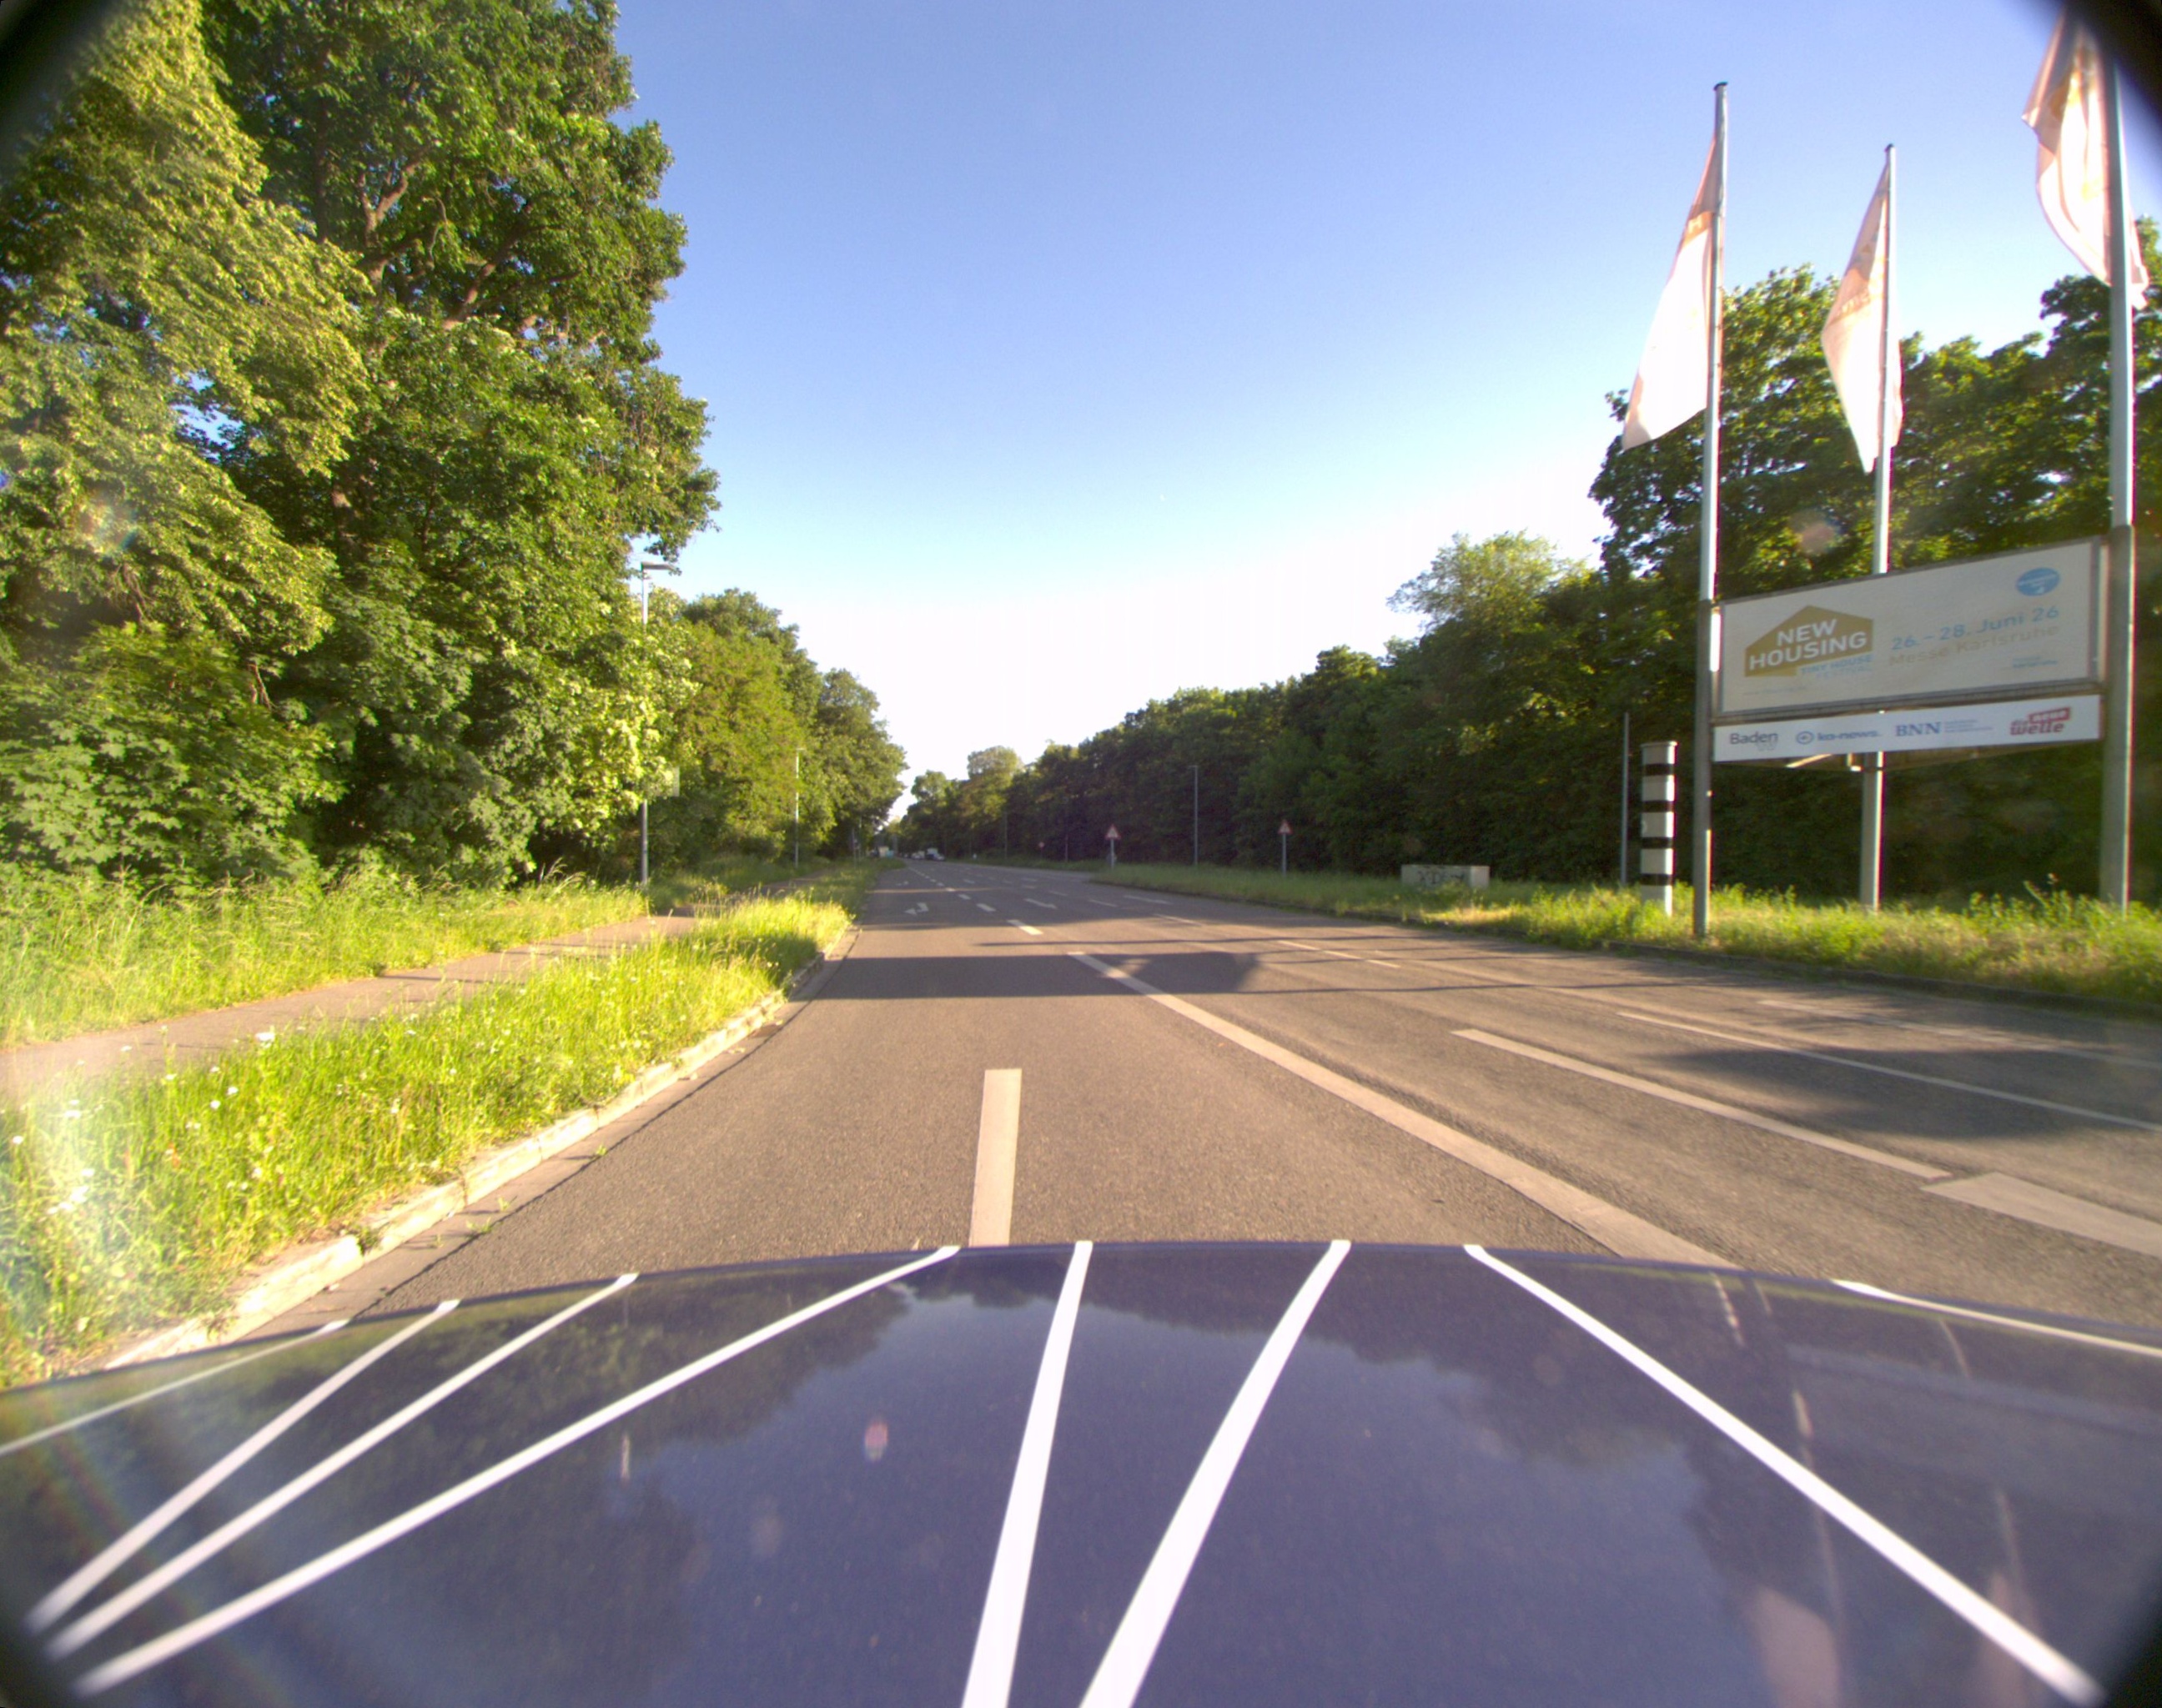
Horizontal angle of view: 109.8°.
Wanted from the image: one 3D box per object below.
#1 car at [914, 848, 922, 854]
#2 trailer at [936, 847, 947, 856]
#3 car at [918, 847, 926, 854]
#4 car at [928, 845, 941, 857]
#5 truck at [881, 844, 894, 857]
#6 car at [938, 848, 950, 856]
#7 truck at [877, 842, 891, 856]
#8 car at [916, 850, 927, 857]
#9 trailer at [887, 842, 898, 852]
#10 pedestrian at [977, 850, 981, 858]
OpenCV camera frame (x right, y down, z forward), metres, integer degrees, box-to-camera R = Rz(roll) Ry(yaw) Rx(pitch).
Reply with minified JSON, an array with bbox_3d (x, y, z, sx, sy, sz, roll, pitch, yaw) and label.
[{"bbox_3d":[-47.957,-0.865,223.119,1.809,1.496,3.906,1,0,-18],"label":"car"},{"bbox_3d":[-31.072,-0.563,168.879,1.809,1.719,3.641,1,0,-18],"label":"trailer"},{"bbox_3d":[-44.107,-0.965,211.180,1.694,2.089,4.624,1,0,-18],"label":"car"},{"bbox_3d":[-34.863,-0.720,180.322,2.464,2.830,4.791,1,1,-18],"label":"car"},{"bbox_3d":[-44.265,-0.891,173.680,2.393,2.856,5.589,-3,2,-18],"label":"truck"},{"bbox_3d":[-29.631,-0.441,164.270,1.917,1.455,4.005,1,0,-18],"label":"car"},{"bbox_3d":[-47.435,-1.285,182.852,2.710,3.218,7.116,1,0,-18],"label":"truck"},{"bbox_3d":[-37.006,-0.089,176.021,1.836,1.447,4.473,0,0,-19],"label":"car"},{"bbox_3d":[-38.767,-1.465,156.559,1.872,2.165,4.122,-1,1,-18],"label":"trailer"},{"bbox_3d":[-19.805,-0.053,147.639,0.714,1.556,0.825,1,1,-14],"label":"pedestrian"}]
